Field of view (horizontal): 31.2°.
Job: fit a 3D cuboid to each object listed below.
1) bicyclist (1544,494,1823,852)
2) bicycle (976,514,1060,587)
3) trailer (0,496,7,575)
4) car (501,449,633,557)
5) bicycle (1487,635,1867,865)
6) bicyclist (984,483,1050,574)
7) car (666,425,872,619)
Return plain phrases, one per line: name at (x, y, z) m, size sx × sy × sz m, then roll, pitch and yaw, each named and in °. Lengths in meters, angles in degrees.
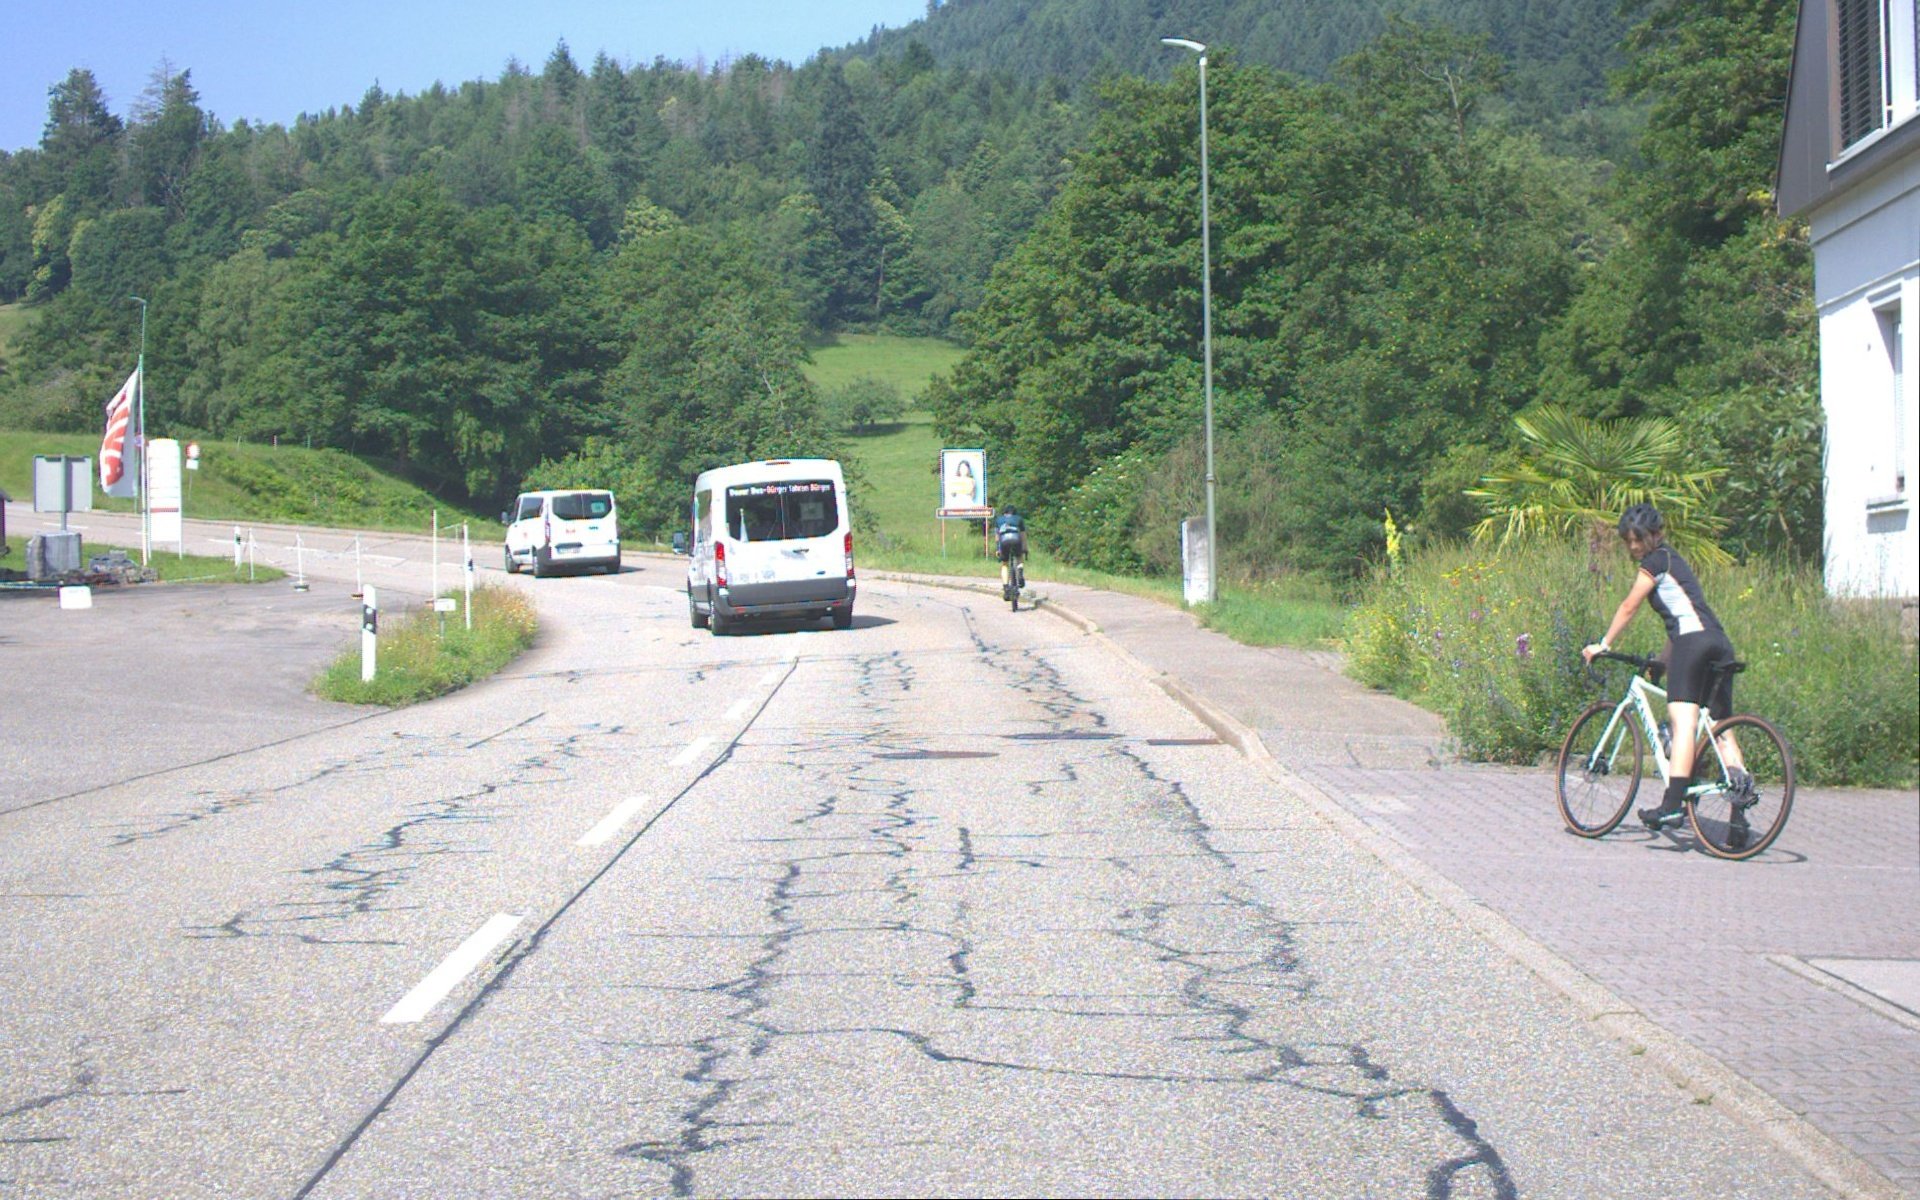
bicyclist at (3.493, 0.327, 16.673) m, size 0.688 × 1.627 × 1.141 m, roll 0°, pitch 3°, yaw -28°
bicycle at (0.884, -0.772, 52.857) m, size 0.579 × 1.031 × 1.991 m, roll -5°, pitch 3°, yaw -19°
trailer at (-15.652, -0.944, 50.913) m, size 1.993 × 1.222 × 5.547 m, roll 0°, pitch 1°, yaw -5°
car at (-9.319, -2.325, 81.147) m, size 2.222 × 2.278 × 4.987 m, roll -4°, pitch 4°, yaw -15°
bicycle at (3.456, 0.698, 16.757) m, size 0.688 × 0.914 × 1.950 m, roll 0°, pitch 4°, yaw -28°
bicyclist at (0.876, -1.112, 52.870) m, size 0.579 × 1.337 × 1.145 m, roll -5°, pitch 3°, yaw -19°
car at (-2.865, -1.209, 50.373) m, size 2.222 × 2.516 × 4.987 m, roll -4°, pitch 4°, yaw -11°
